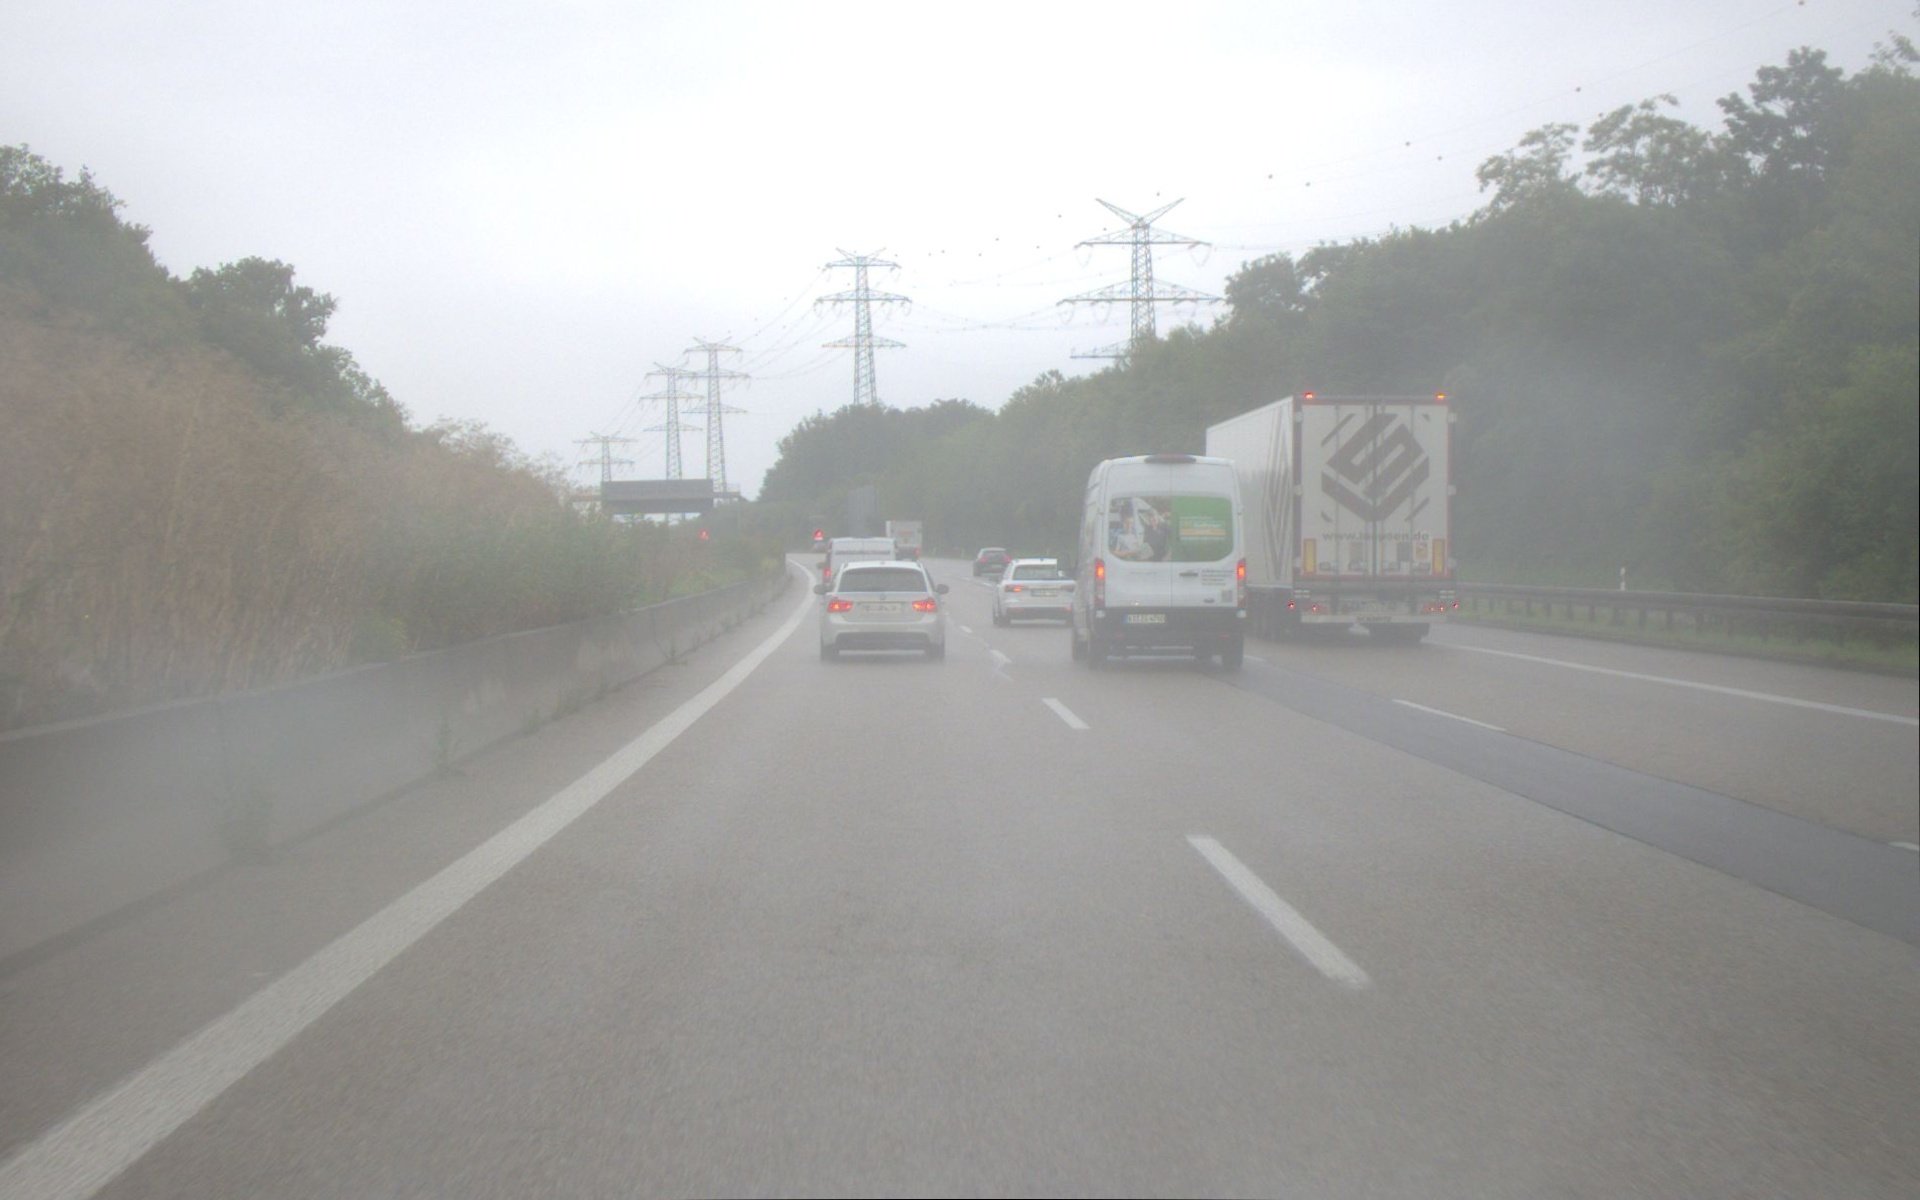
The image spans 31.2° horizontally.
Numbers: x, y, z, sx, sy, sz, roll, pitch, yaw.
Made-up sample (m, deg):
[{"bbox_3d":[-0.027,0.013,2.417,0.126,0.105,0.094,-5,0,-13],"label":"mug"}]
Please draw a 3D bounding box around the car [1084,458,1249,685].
[{"bbox_3d":[2.679,-0.385,45.402,1.993,2.854,4.000,0,1,1],"label":"car"}]

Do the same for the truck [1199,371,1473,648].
[{"bbox_3d":[6.371,-1.459,60.687,3.603,4.317,13.199,-1,0,1],"label":"truck"}]

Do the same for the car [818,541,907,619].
[{"bbox_3d":[-2.253,-0.483,80.283,1.846,1.766,4.000,-1,1,1],"label":"car"}]

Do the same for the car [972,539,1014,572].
[{"bbox_3d":[1.661,-2.204,171.184,1.993,1.481,4.000,-3,0,1],"label":"car"}]

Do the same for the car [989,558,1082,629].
[{"bbox_3d":[1.602,-0.156,71.527,1.857,1.418,4.000,0,1,2],"label":"car"}]

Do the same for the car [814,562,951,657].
[{"bbox_3d":[-1.070,0.104,49.411,1.866,1.284,4.000,-1,1,0],"label":"car"}]

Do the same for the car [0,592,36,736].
[{"bbox_3d":[-9.177,0.579,29.116,1.607,1.233,3.479,-1,1,3],"label":"car"}]
